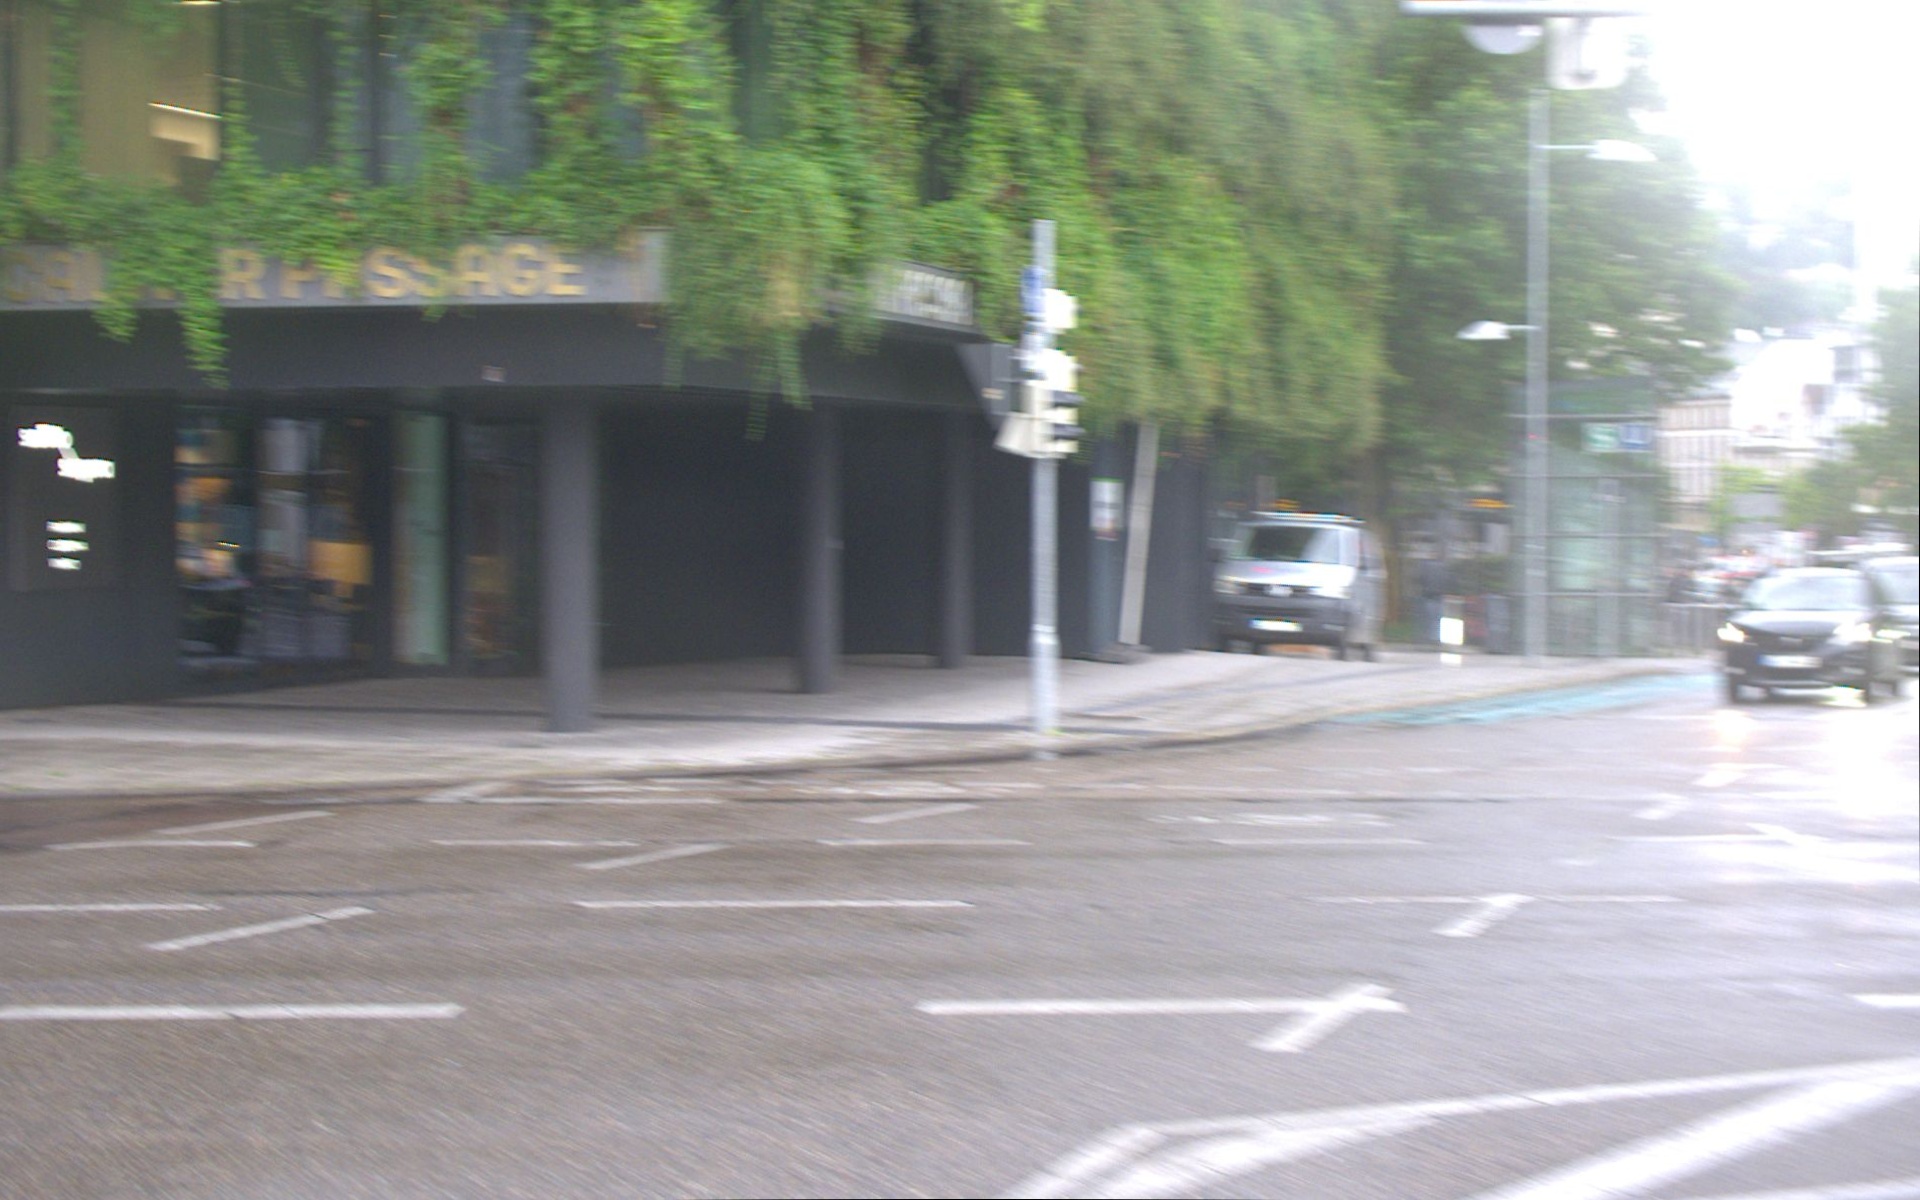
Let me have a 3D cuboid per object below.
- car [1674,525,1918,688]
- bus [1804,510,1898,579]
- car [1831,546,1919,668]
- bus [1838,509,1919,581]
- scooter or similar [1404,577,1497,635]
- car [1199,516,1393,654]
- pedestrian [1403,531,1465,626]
[{"bbox_3d":[9.807,0.035,40.054,2.166,1.759,5.107,1,1,20],"label":"car"},{"bbox_3d":[39.920,-2.509,154.220,2.628,2.985,7.449,0,1,3],"label":"bus"},{"bbox_3d":[14.419,0.079,52.288,2.165,1.759,5.108,1,1,15],"label":"car"},{"bbox_3d":[39.566,-2.365,146.854,2.628,2.985,7.327,0,1,3],"label":"bus"},{"bbox_3d":[8.798,0.105,61.629,1.655,1.001,0.624,-1,1,-33],"label":"scooter or similar"},{"bbox_3d":[4.738,-0.226,48.005,1.872,1.833,3.996,1,1,18],"label":"car"},{"bbox_3d":[8.296,-0.380,60.173,0.934,1.638,0.773,1,1,18],"label":"pedestrian"}]
